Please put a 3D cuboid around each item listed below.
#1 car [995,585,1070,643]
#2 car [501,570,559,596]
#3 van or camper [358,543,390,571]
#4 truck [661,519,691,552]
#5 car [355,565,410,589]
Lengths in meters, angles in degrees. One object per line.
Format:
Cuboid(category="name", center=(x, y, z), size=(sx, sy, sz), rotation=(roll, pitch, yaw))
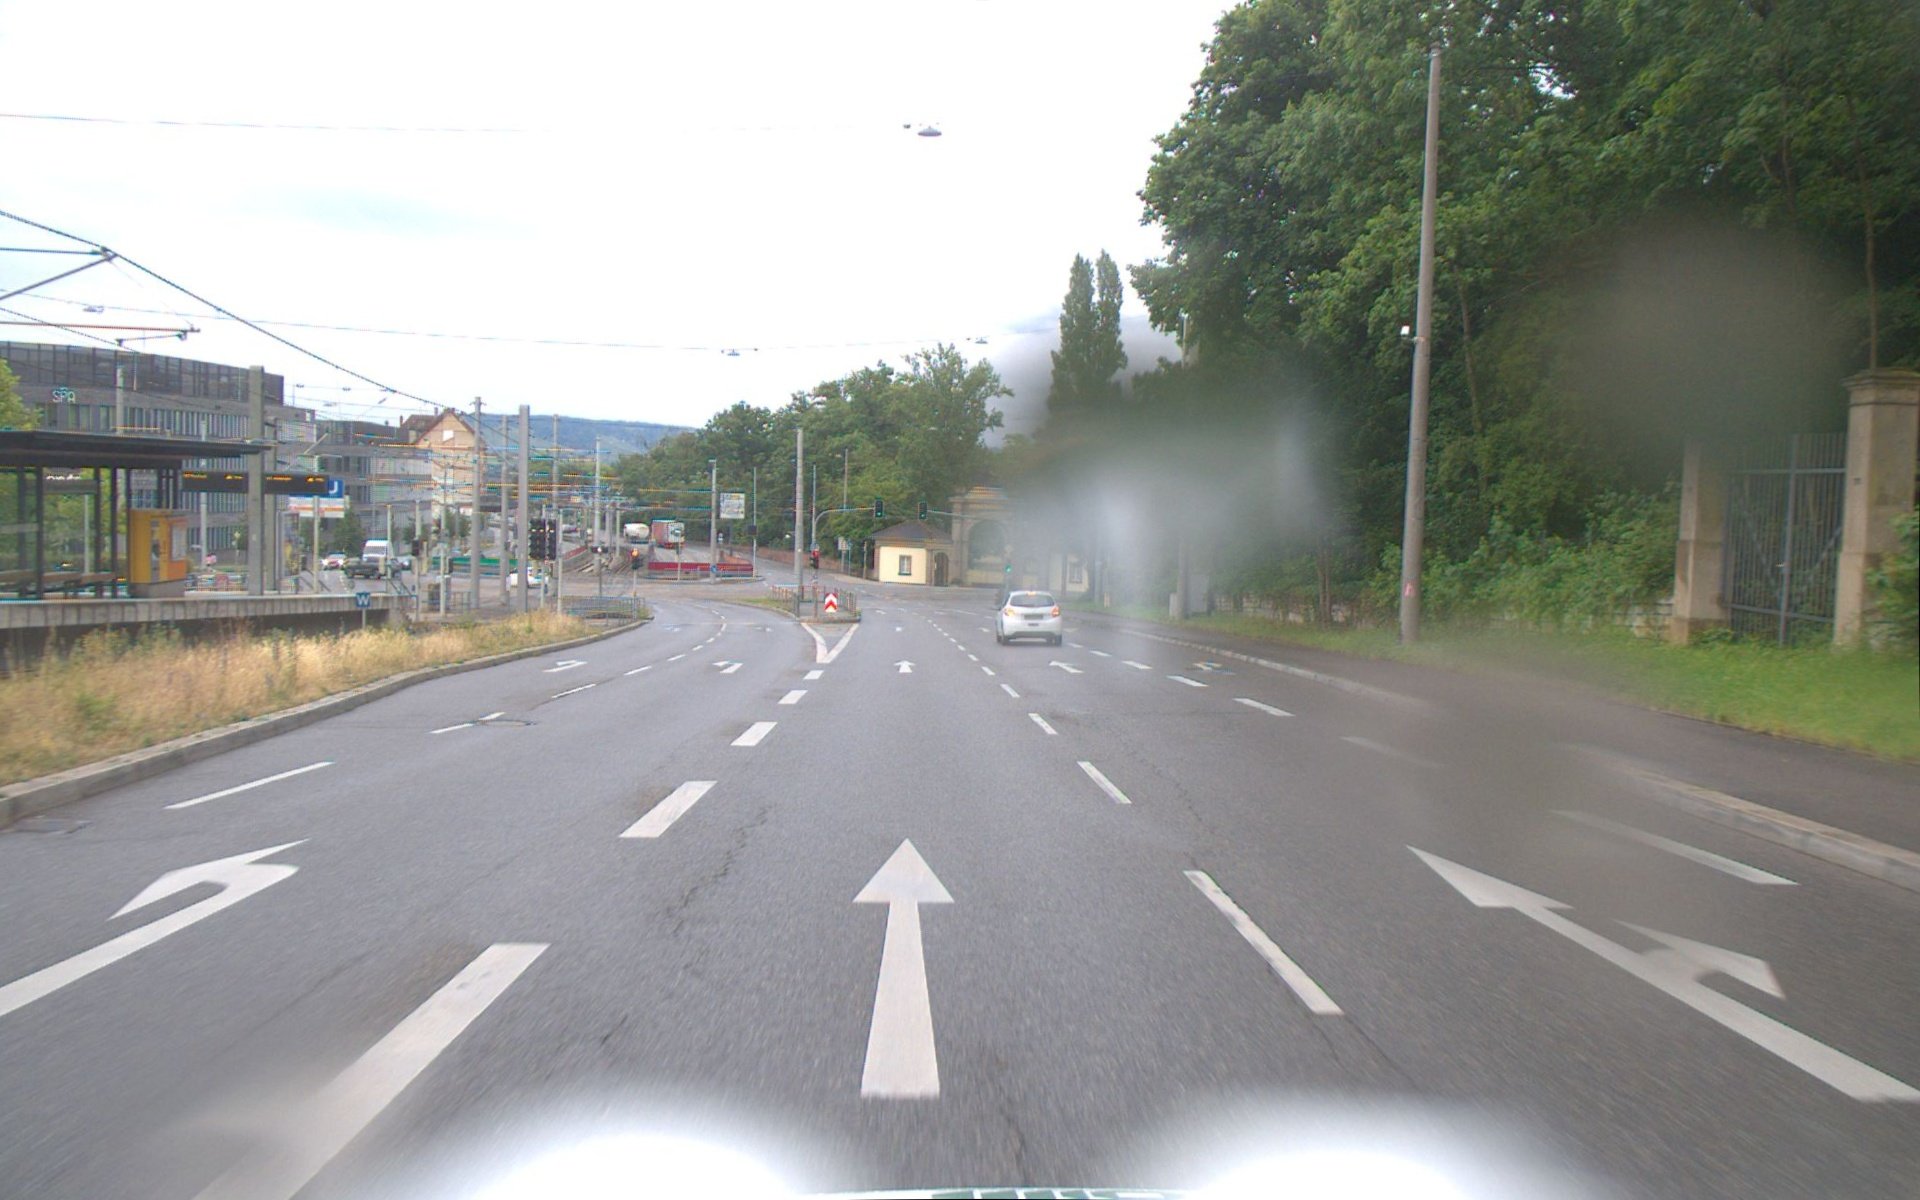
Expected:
Cuboid(category="car", center=(1.985, 0.374, 46.507), size=(1.831, 1.537, 3.898), rotation=(-1, 0, -1))
Cuboid(category="car", center=(-30.194, -1.188, 116.096), size=(3.919, 1.633, 1.822), rotation=(4, 2, 35))
Cuboid(category="van or camper", center=(-51.437, -3.778, 145.228), size=(1.957, 2.385, 3.991), rotation=(-1, 1, -9))
Cuboid(category="truck", center=(-43.202, -9.721, 251.110), size=(3.357, 4.649, 11.245), rotation=(4, 1, -14))
Cuboid(category="car", center=(-43.582, -1.743, 124.811), size=(3.915, 1.735, 1.995), rotation=(1, 1, 32))
